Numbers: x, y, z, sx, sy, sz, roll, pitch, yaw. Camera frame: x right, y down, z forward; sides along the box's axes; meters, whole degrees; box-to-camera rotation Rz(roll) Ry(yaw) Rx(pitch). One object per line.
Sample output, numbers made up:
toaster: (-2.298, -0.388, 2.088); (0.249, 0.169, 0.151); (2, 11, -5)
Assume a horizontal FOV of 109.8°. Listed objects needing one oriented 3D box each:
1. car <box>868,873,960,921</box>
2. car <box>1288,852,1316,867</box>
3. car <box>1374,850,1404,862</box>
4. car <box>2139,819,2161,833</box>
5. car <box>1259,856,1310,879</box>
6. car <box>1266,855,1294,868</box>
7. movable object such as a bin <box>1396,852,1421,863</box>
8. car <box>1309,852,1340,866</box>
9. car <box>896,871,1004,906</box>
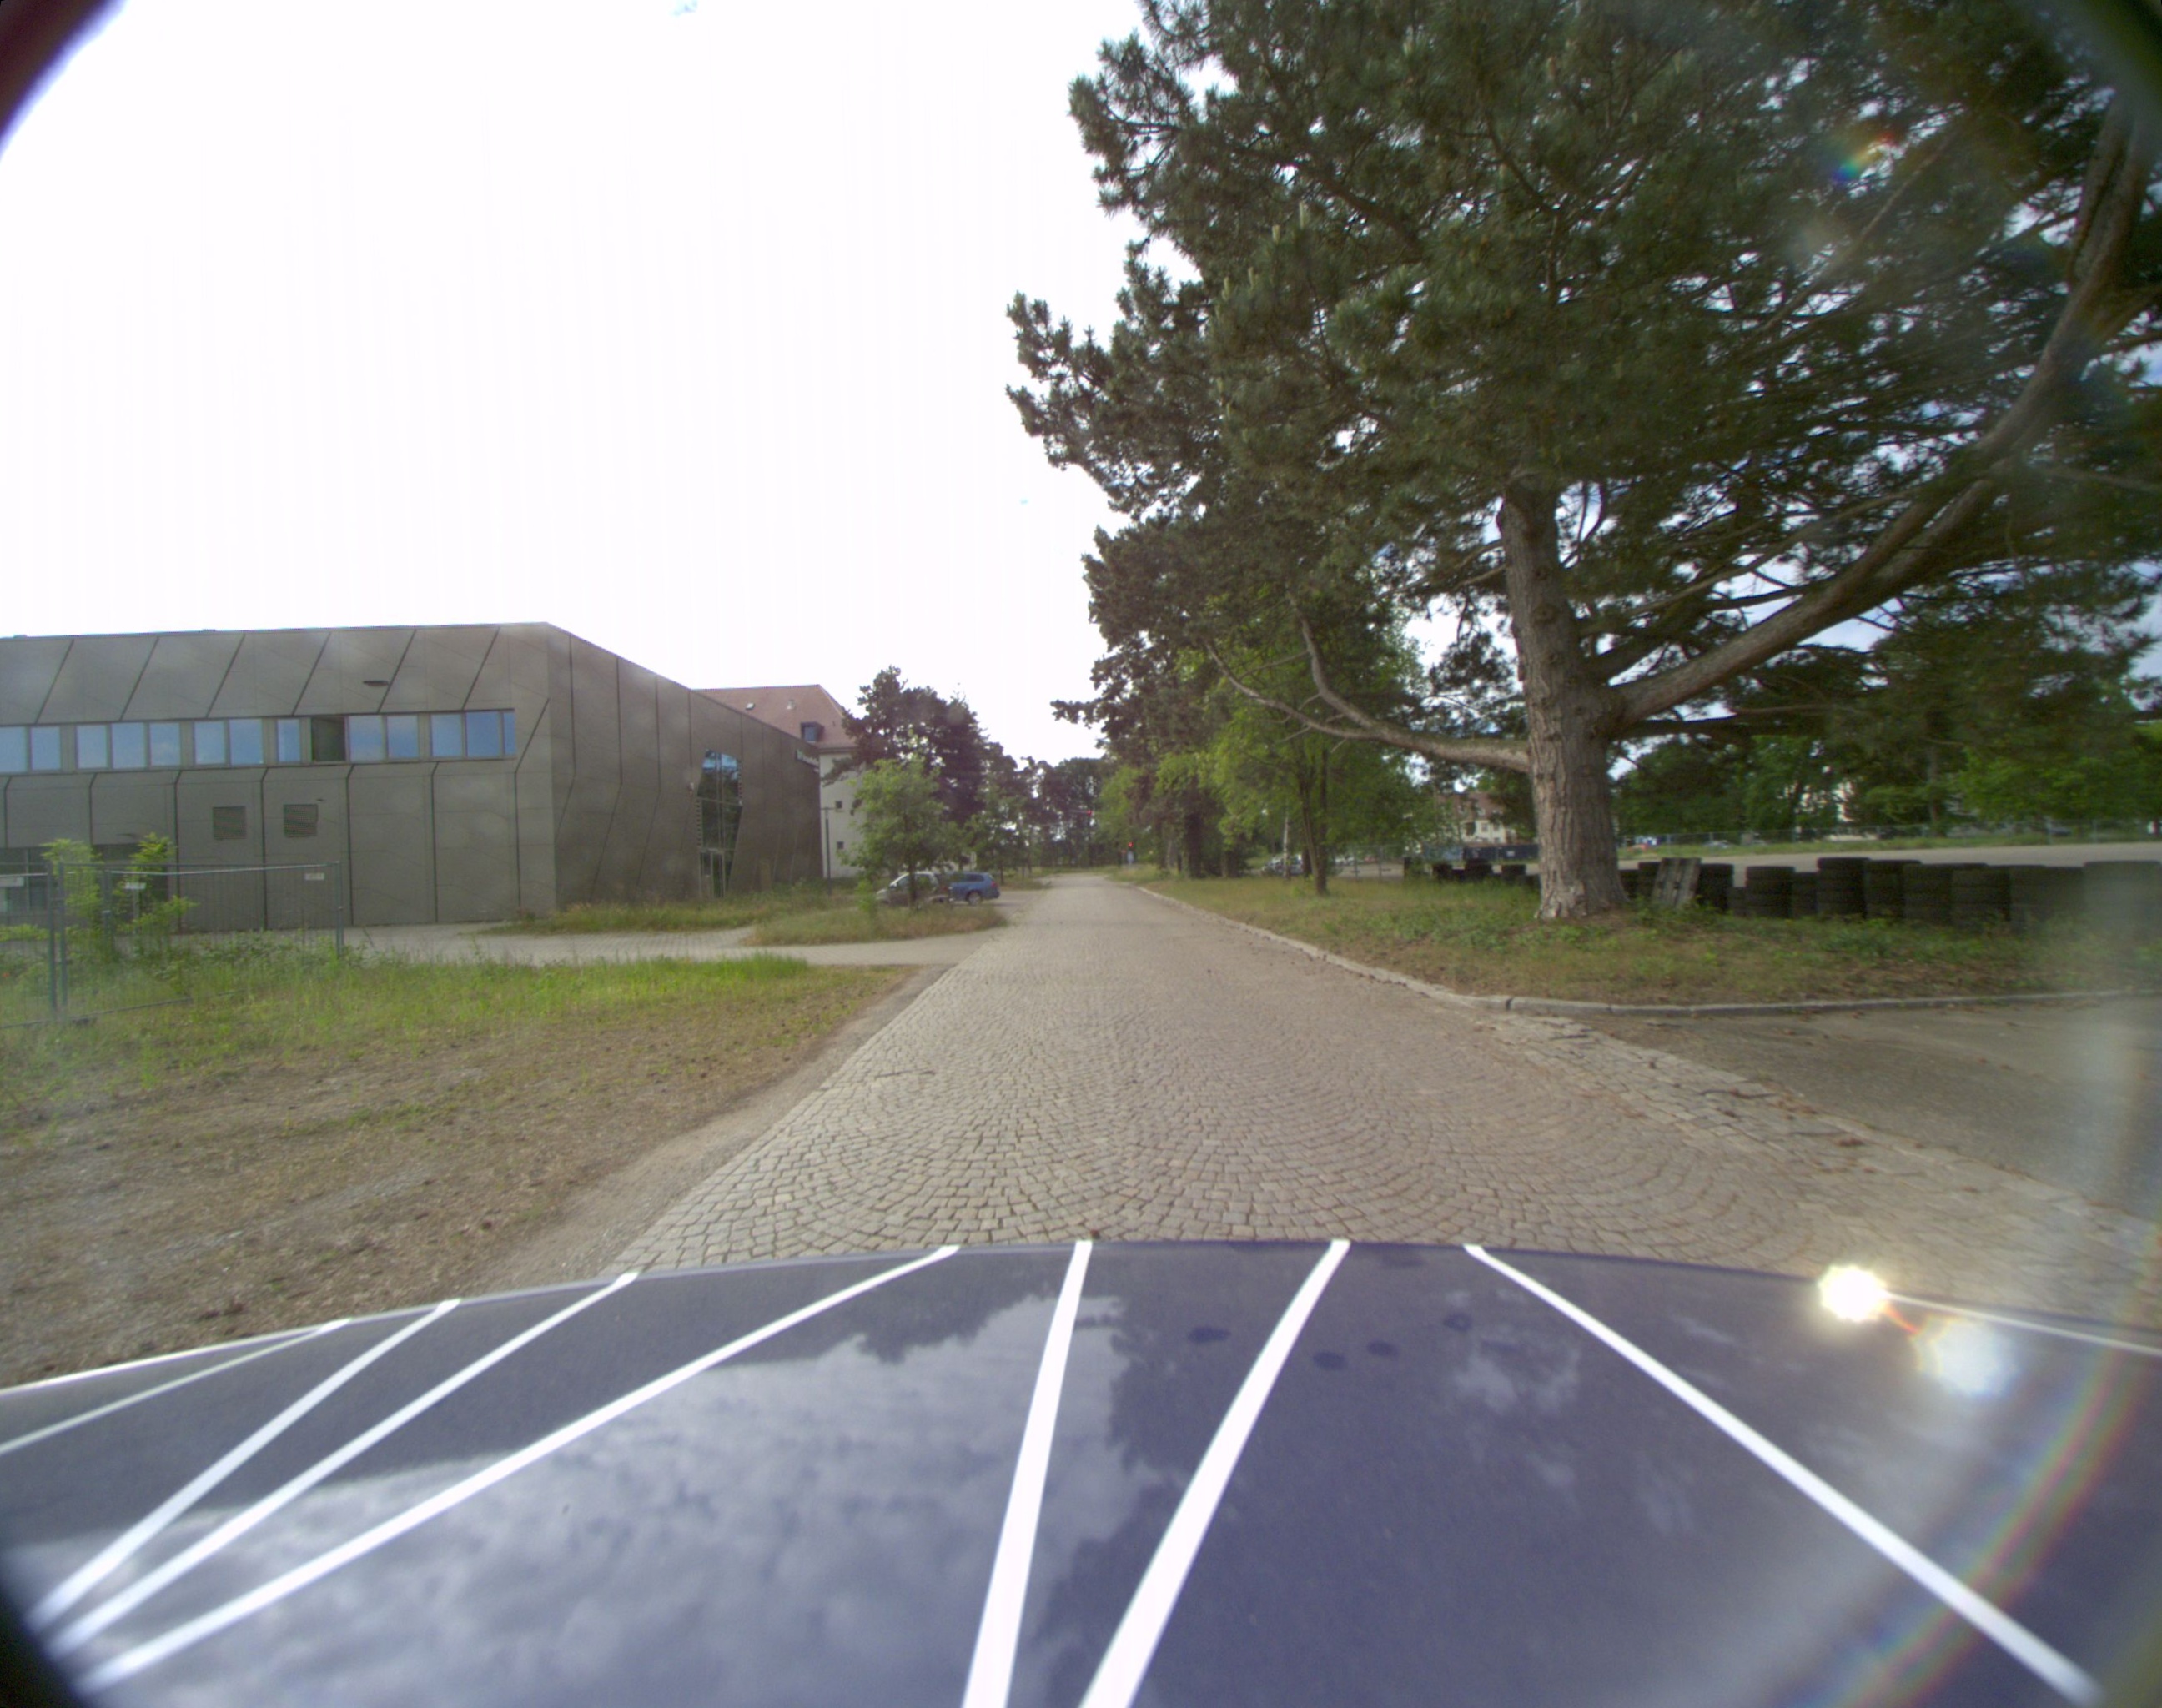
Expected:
car: (-5.682, 1.447, 26.082); (2.716, 1.547, 1.654); (-1, 0, 1)
car: (24.927, 0.657, 85.814); (1.674, 1.510, 3.899); (-2, -2, -3)
car: (39.367, 0.294, 97.309); (1.830, 1.466, 4.401); (-2, -1, -3)
car: (135.951, -3.571, 94.824); (1.829, 1.712, 4.290); (-5, 0, 0)
car: (12.781, 0.850, 48.028); (1.829, 1.408, 4.420); (0, -1, -3)
car: (22.427, 0.864, 85.725); (1.830, 1.417, 4.319); (-2, -1, -3)
movable object such as a bin: (31.770, 0.310, 73.708); (1.448, 0.963, 1.957); (-2, 0, -8)
car: (27.568, 0.552, 86.269); (1.830, 1.466, 4.401); (-2, -1, -3)
car: (-5.691, 1.496, 33.514); (4.503, 1.466, 1.830); (-1, 0, -3)
